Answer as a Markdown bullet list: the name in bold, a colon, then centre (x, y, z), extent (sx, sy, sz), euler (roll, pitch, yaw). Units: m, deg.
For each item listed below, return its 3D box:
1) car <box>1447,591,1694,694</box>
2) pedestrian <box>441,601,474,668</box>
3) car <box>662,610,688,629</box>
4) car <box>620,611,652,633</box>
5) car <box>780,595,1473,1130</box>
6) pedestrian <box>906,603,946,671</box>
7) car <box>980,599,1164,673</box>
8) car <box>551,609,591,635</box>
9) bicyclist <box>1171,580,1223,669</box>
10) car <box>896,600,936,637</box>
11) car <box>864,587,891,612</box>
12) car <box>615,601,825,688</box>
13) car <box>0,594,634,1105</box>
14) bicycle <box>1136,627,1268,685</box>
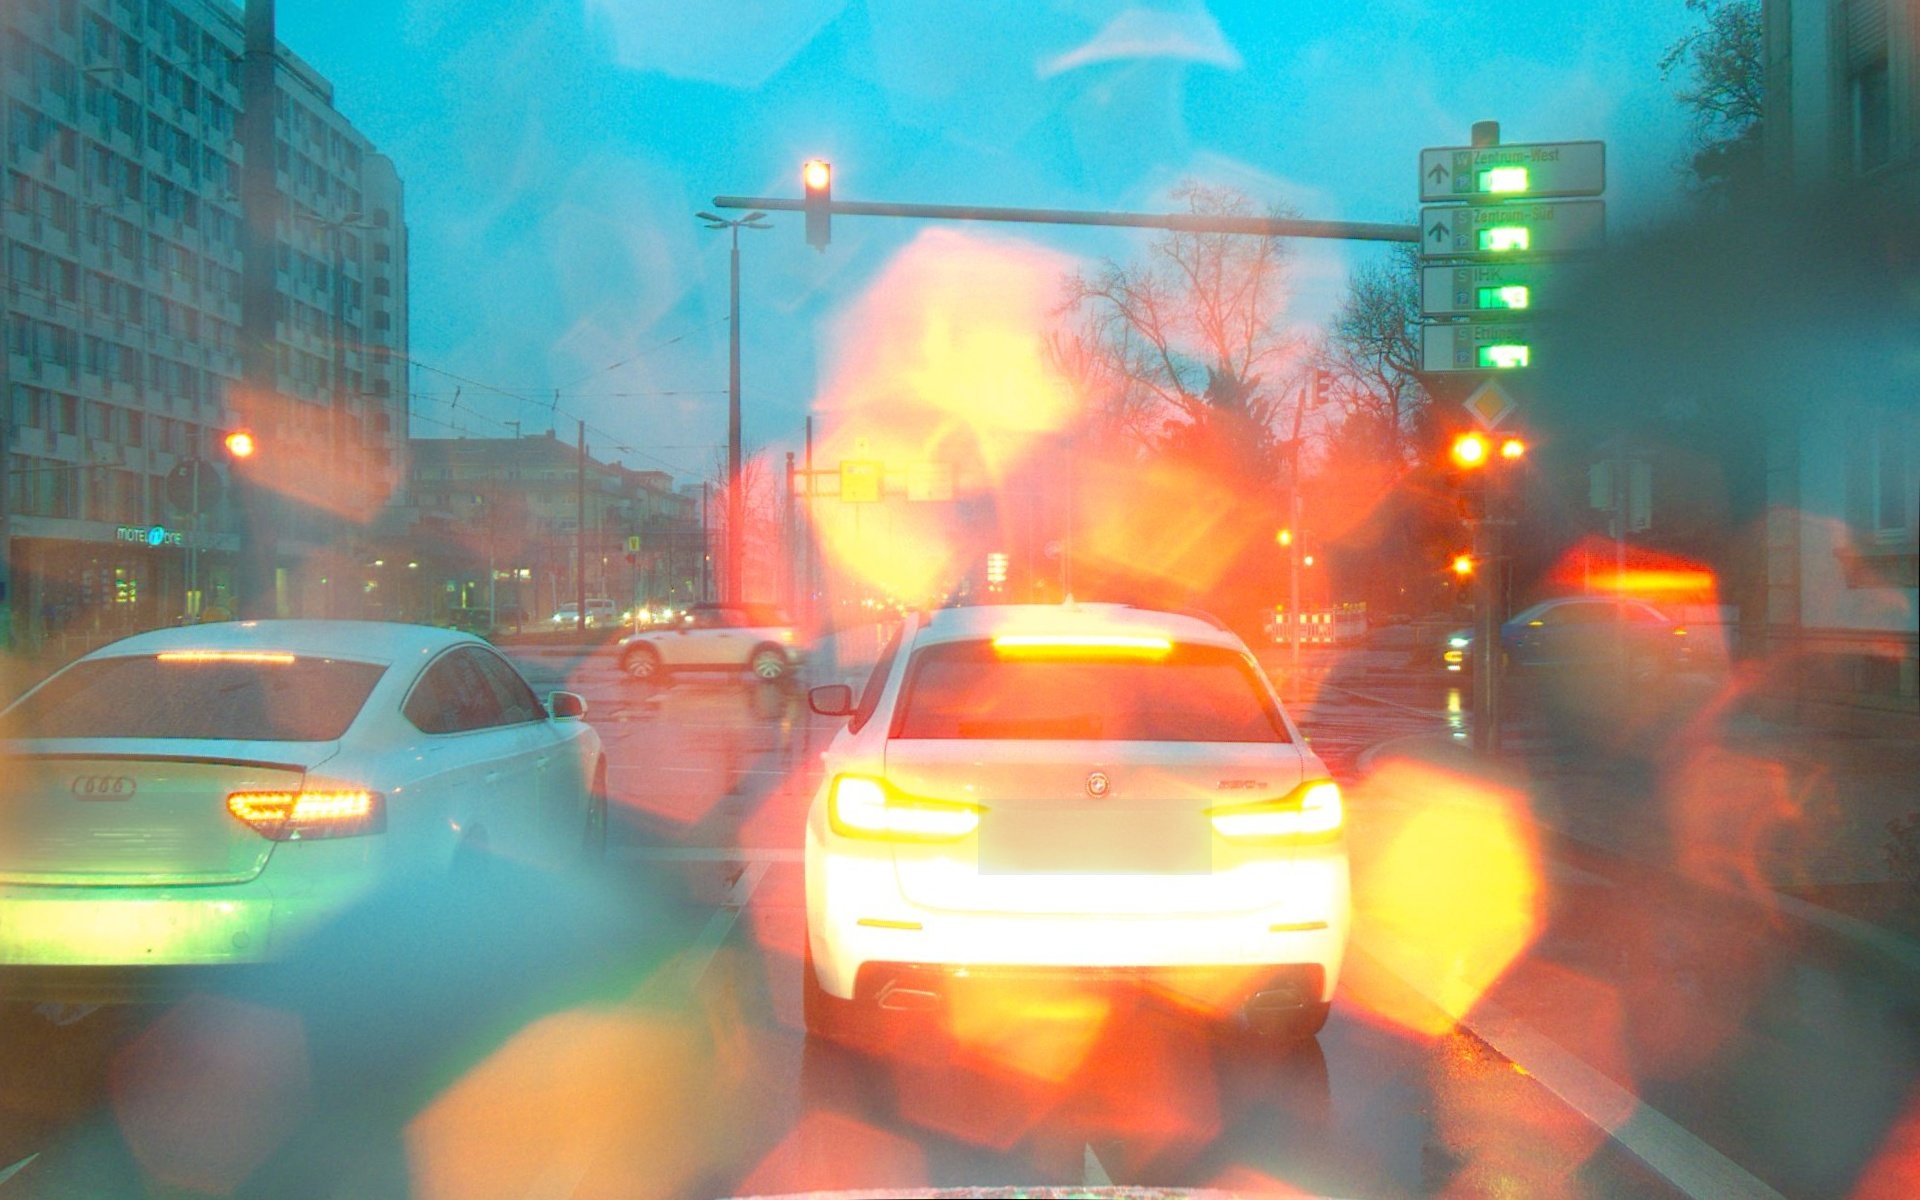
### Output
- **car**: centre (10.618, 0.723, 29.019), extent (3.902, 1.651, 1.720), euler (1, -1, 15)
- **pedestrian**: centre (-13.416, 0.918, 44.151), extent (0.777, 1.741, 0.809), euler (2, -1, -16)
- **car**: centre (-24.043, 1.625, 139.617), extent (1.641, 1.534, 3.695), euler (1, -1, -1)
- **car**: centre (-24.350, 1.652, 124.399), extent (1.641, 1.534, 3.695), euler (1, -1, -1)
- **car**: centre (0.380, 0.731, 6.834), extent (1.954, 1.481, 4.366), euler (0, 0, -3)
- **pedestrian**: centre (-0.954, 1.049, 46.703), extent (0.884, 1.888, 0.813), euler (1, -1, 17)
- **car**: centre (2.606, 0.815, 38.353), extent (3.874, 1.581, 1.749), euler (1, -1, 22)
- **car**: centre (-24.397, 1.393, 103.846), extent (1.641, 1.534, 3.695), euler (1, -1, -1)
- **bicyclist**: centre (4.909, 0.503, 34.221), extent (0.951, 1.789, 0.814), euler (1, -1, 14)
- **car**: centre (-2.066, 0.854, 77.497), extent (1.806, 1.637, 3.943), euler (1, -1, -2)
- **car**: centre (-5.672, -0.028, 113.798), extent (1.806, 1.637, 3.943), euler (1, -1, -2)
- **car**: centre (-4.479, 0.823, 31.220), extent (3.610, 1.504, 1.629), euler (1, -1, 4)
- **car**: centre (-2.702, 0.722, 7.006), extent (1.954, 1.481, 4.366), euler (0, 0, -3)
- **bicycle**: centre (5.006, 1.150, 34.170), extent (2.610, 1.108, 0.815), euler (1, -1, 14)
